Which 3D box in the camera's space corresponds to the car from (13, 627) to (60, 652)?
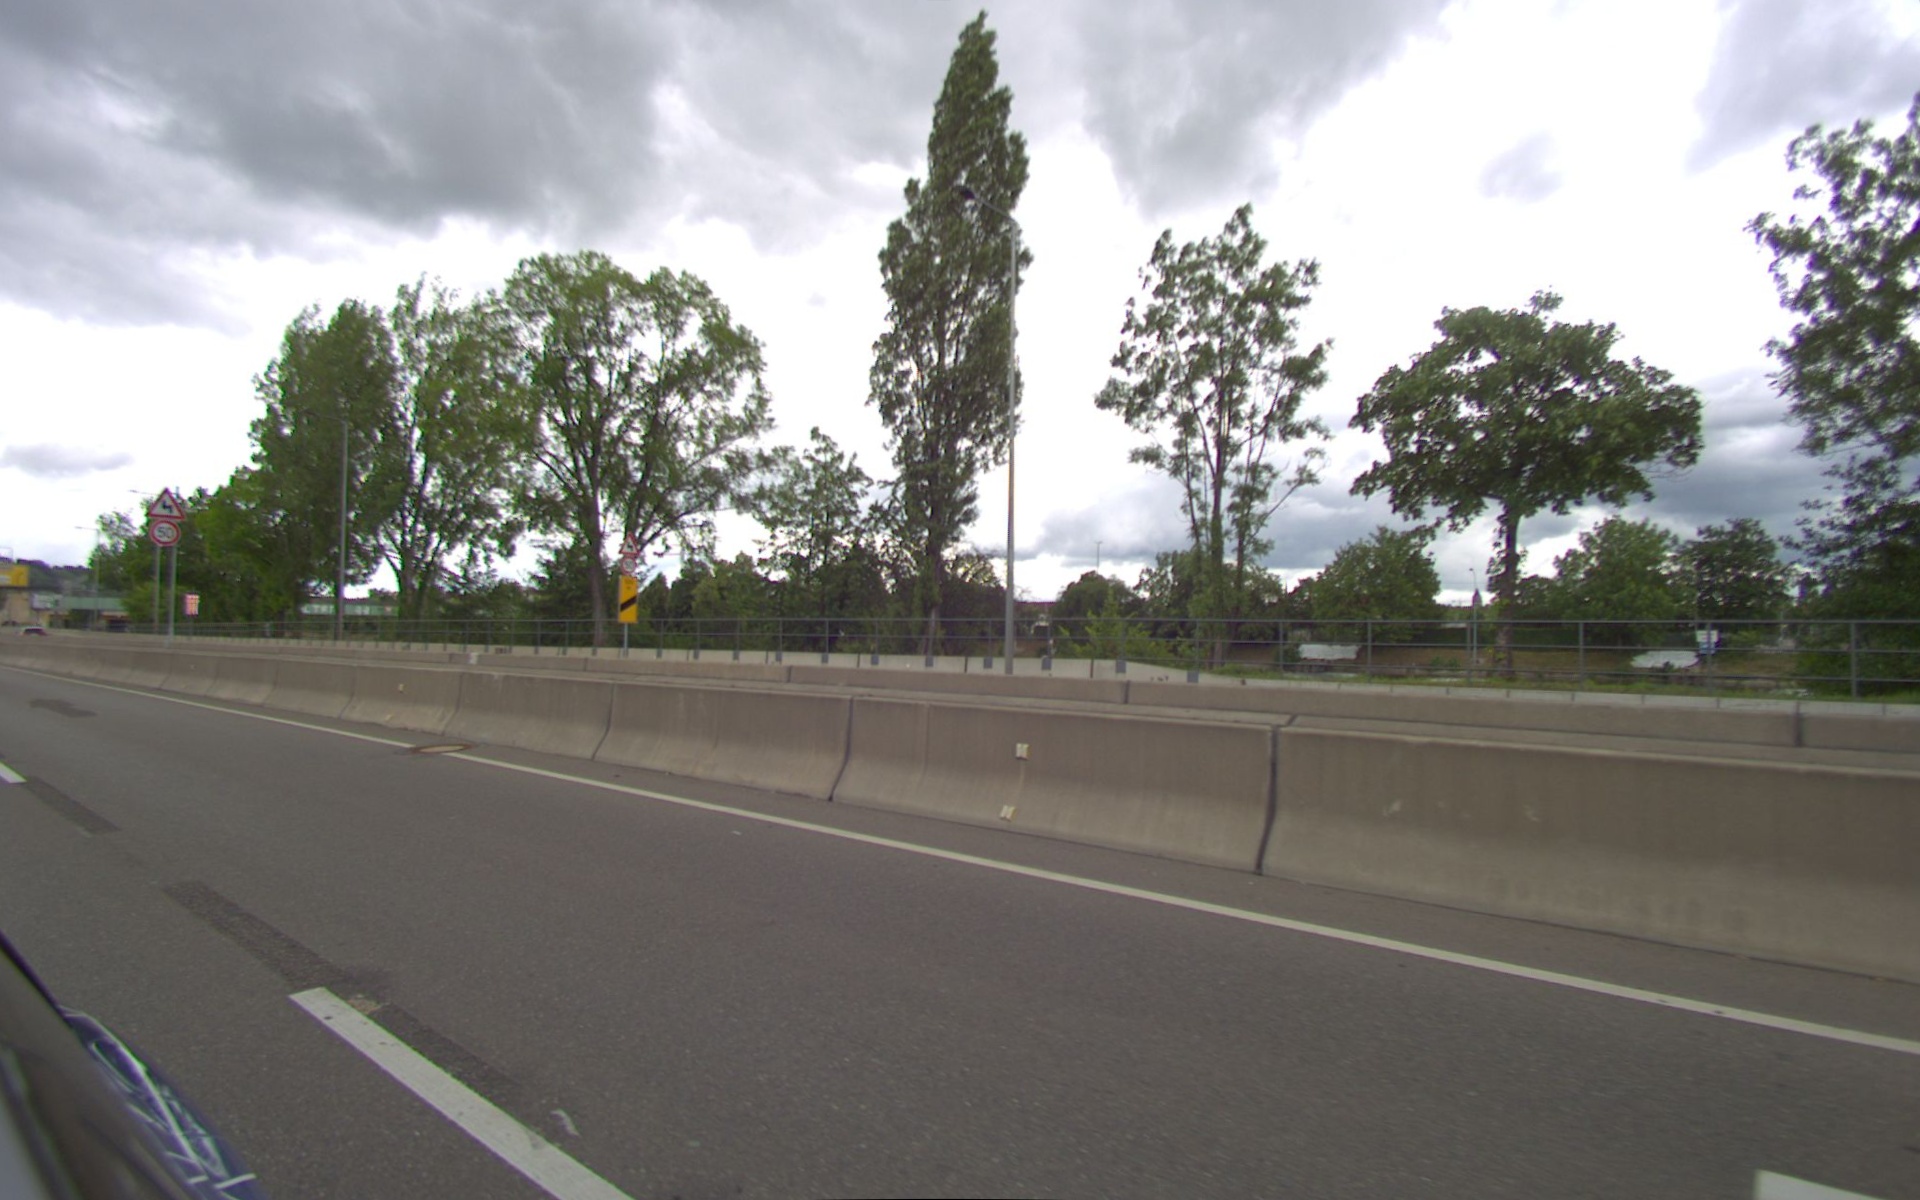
[{"bbox_3d":[-75.805,3.229,83.063,5.000,1.940,2.305,-2,0,41],"label":"car"}]
